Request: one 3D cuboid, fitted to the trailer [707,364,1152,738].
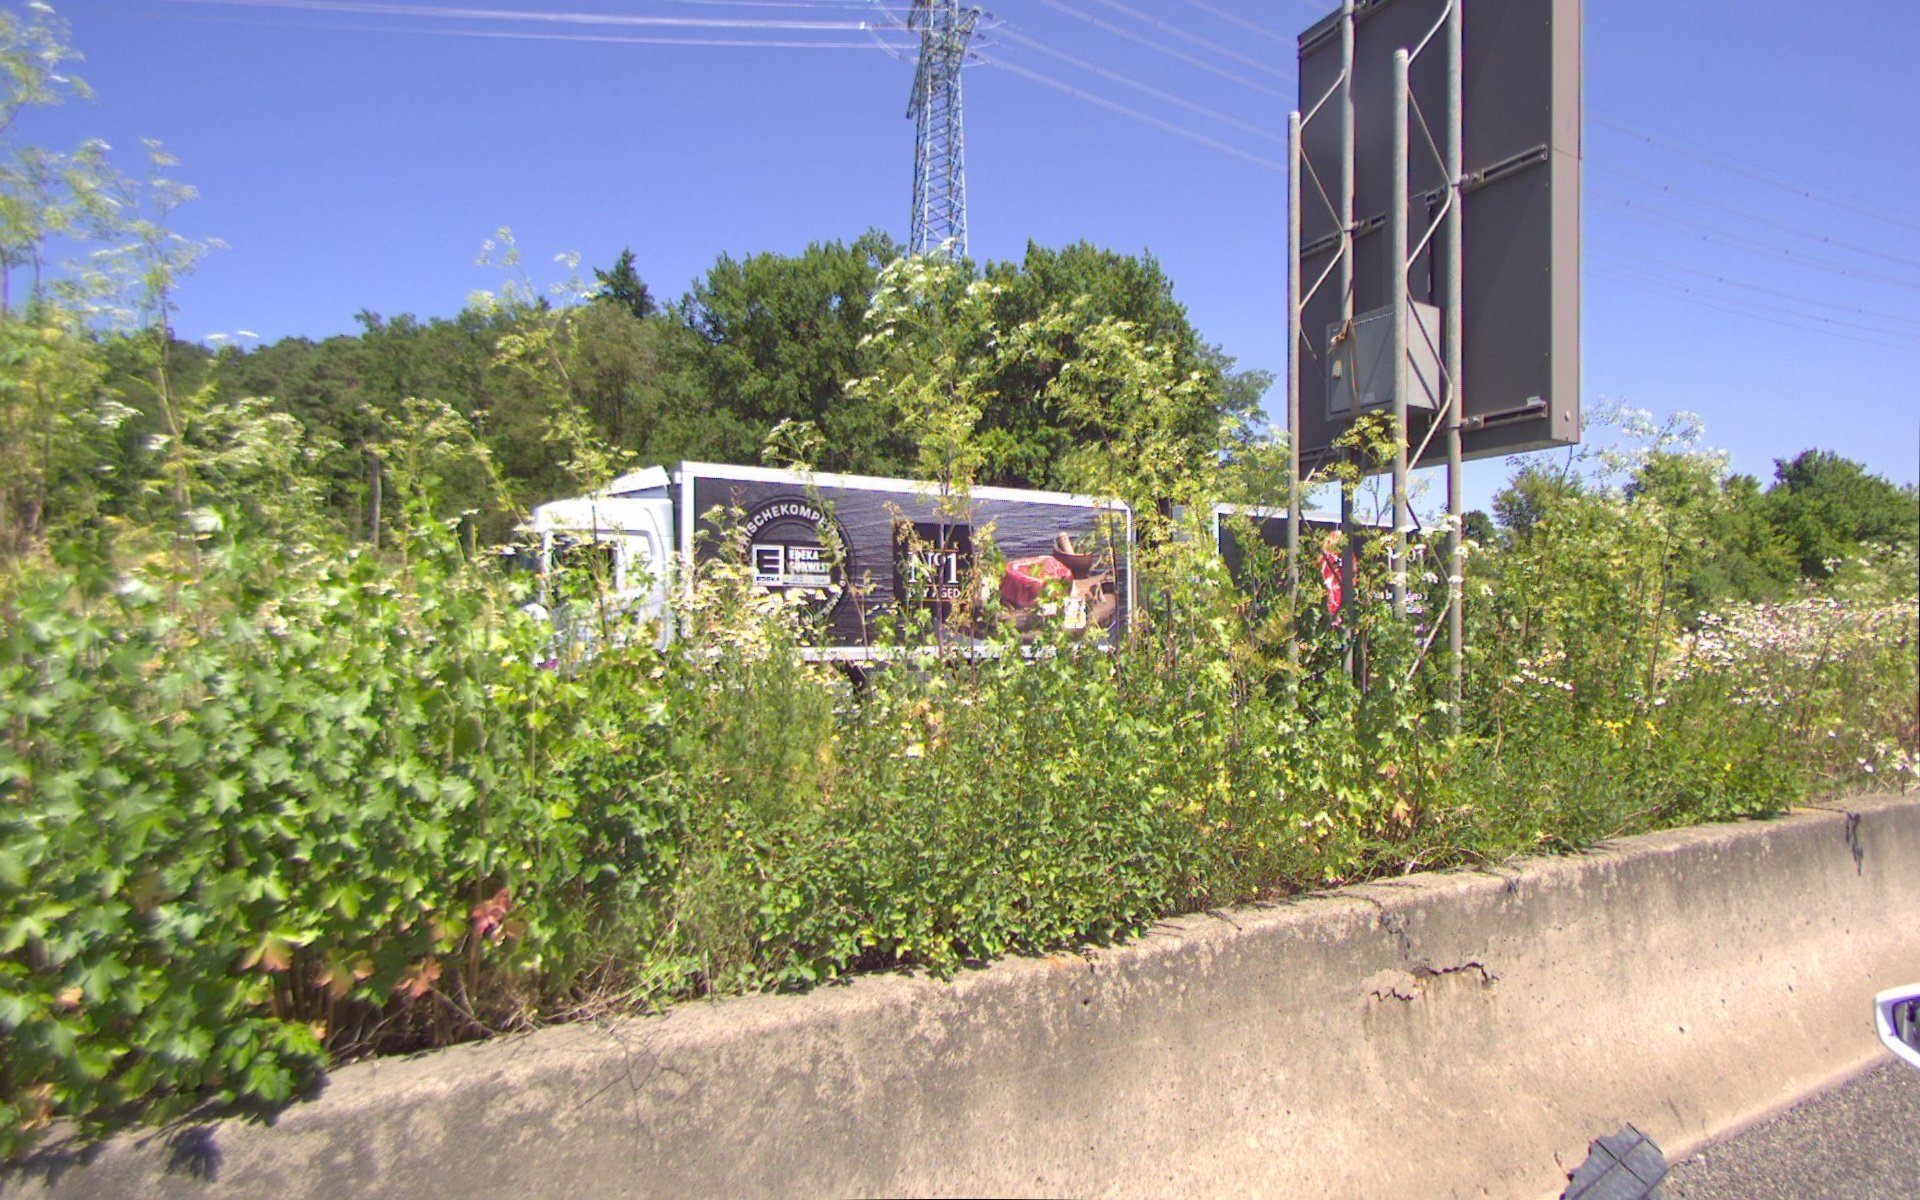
[{"bbox_3d":[-0.458,-0.556,16.811,6.623,5.114,3.308,2,-1,-29],"label":"trailer"}]

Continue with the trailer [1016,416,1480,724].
[{"bbox_3d":[6.060,-0.344,20.431,9.474,5.114,3.308,2,-1,-29],"label":"trailer"}]

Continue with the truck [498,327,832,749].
[{"bbox_3d":[-4.358,-0.691,14.604,3.984,5.117,3.288,1,-1,-29],"label":"truck"}]
